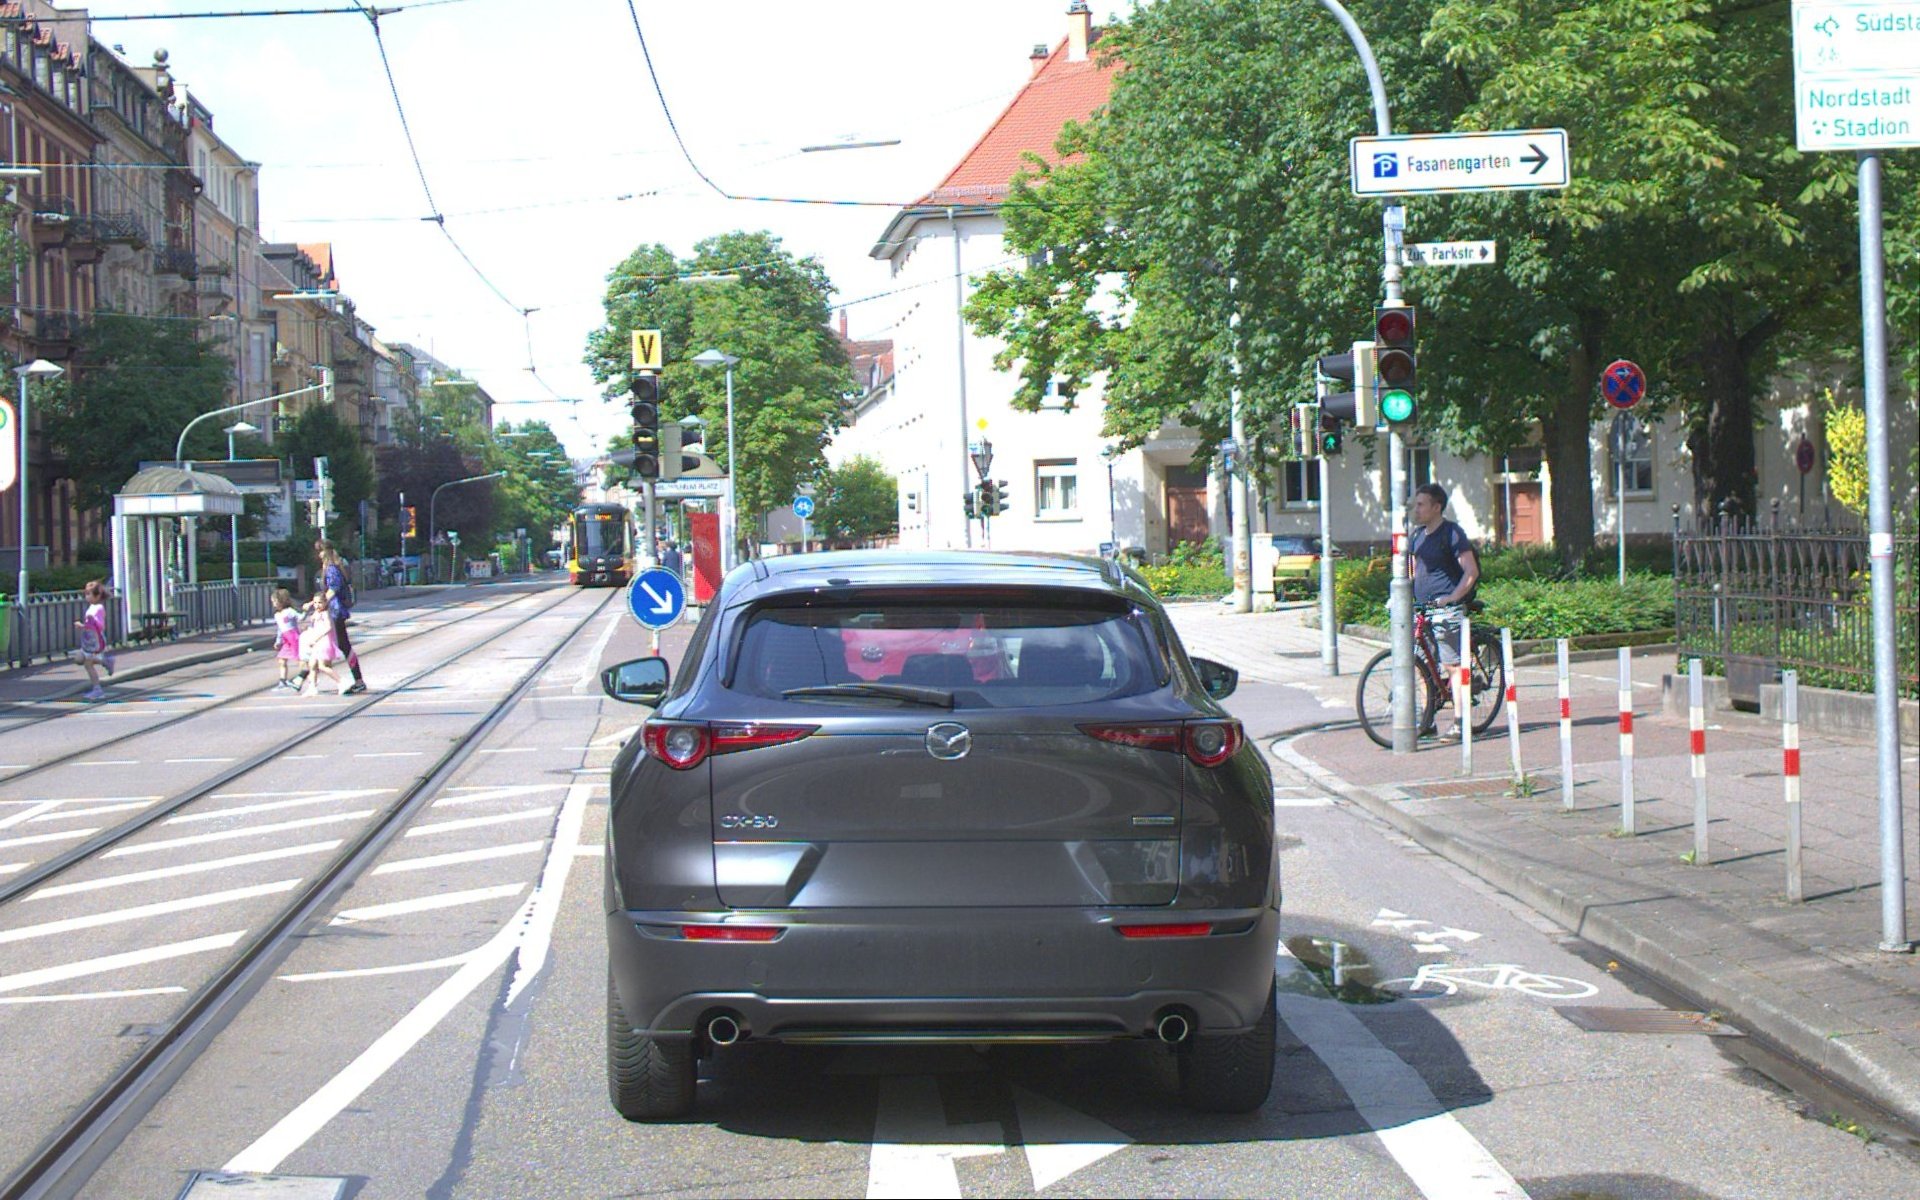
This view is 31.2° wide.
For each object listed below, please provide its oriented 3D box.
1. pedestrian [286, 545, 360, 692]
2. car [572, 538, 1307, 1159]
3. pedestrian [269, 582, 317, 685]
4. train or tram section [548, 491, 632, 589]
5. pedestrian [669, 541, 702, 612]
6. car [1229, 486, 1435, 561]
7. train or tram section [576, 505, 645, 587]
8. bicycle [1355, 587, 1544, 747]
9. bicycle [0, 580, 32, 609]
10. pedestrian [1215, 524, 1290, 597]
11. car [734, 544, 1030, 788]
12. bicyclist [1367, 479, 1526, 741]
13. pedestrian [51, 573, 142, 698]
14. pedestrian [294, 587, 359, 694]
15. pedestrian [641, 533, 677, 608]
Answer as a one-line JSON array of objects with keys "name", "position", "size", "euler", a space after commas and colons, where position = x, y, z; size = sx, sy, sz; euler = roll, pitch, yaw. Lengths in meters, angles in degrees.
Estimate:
[{"name": "pedestrian", "position": [-6.924, 0.191, 37.415], "size": [0.728, 1.560, 0.799], "euler": [-2, 1, -9]}, {"name": "car", "position": [-0.119, 0.589, 10.410], "size": [1.782, 1.509, 4.000], "euler": [1, 1, -2]}, {"name": "pedestrian", "position": [-7.375, 0.372, 38.036], "size": [0.437, 1.104, 0.423], "euler": [-4, 1, -9]}, {"name": "train or tram section", "position": [-15.918, -2.494, 148.626], "size": [2.997, 3.970, 13.811], "euler": [-2, 0, -4]}, {"name": "pedestrian", "position": [-6.042, -0.525, 75.609], "size": [0.667, 1.540, 0.581], "euler": [-2, 1, -5]}, {"name": "car", "position": [8.267, -1.700, 76.497], "size": [4.167, 1.504, 1.848], "euler": [-1, 3, 38]}, {"name": "train or tram section", "position": [-17.847, -2.684, 176.144], "size": [2.997, 3.970, 13.811], "euler": [-2, 0, -4]}, {"name": "bicycle", "position": [3.513, 0.459, 24.560], "size": [0.389, 1.032, 1.841], "euler": [-1, 2, 40]}, {"name": "bicycle", "position": [-25.089, -0.139, 90.036], "size": [0.386, 0.745, 1.708], "euler": [-1, 1, 31]}, {"name": "pedestrian", "position": [5.376, -0.728, 63.192], "size": [1.192, 1.264, 0.558], "euler": [-4, 1, -9]}, {"name": "car", "position": [-0.510, 0.365, 22.510], "size": [1.775, 1.459, 3.843], "euler": [0, 1, -1]}, {"name": "bicyclist", "position": [3.457, 0.064, 24.466], "size": [0.733, 1.813, 0.820], "euler": [-2, 1, -27]}, {"name": "pedestrian", "position": [-9.471, 0.381, 37.727], "size": [0.825, 1.299, 0.717], "euler": [-4, 1, -9]}, {"name": "pedestrian", "position": [-6.789, 0.431, 36.849], "size": [0.641, 1.110, 0.444], "euler": [-2, 1, -9]}, {"name": "pedestrian", "position": [-6.811, -0.665, 77.786], "size": [0.770, 1.669, 0.668], "euler": [-2, 1, -5]}]
